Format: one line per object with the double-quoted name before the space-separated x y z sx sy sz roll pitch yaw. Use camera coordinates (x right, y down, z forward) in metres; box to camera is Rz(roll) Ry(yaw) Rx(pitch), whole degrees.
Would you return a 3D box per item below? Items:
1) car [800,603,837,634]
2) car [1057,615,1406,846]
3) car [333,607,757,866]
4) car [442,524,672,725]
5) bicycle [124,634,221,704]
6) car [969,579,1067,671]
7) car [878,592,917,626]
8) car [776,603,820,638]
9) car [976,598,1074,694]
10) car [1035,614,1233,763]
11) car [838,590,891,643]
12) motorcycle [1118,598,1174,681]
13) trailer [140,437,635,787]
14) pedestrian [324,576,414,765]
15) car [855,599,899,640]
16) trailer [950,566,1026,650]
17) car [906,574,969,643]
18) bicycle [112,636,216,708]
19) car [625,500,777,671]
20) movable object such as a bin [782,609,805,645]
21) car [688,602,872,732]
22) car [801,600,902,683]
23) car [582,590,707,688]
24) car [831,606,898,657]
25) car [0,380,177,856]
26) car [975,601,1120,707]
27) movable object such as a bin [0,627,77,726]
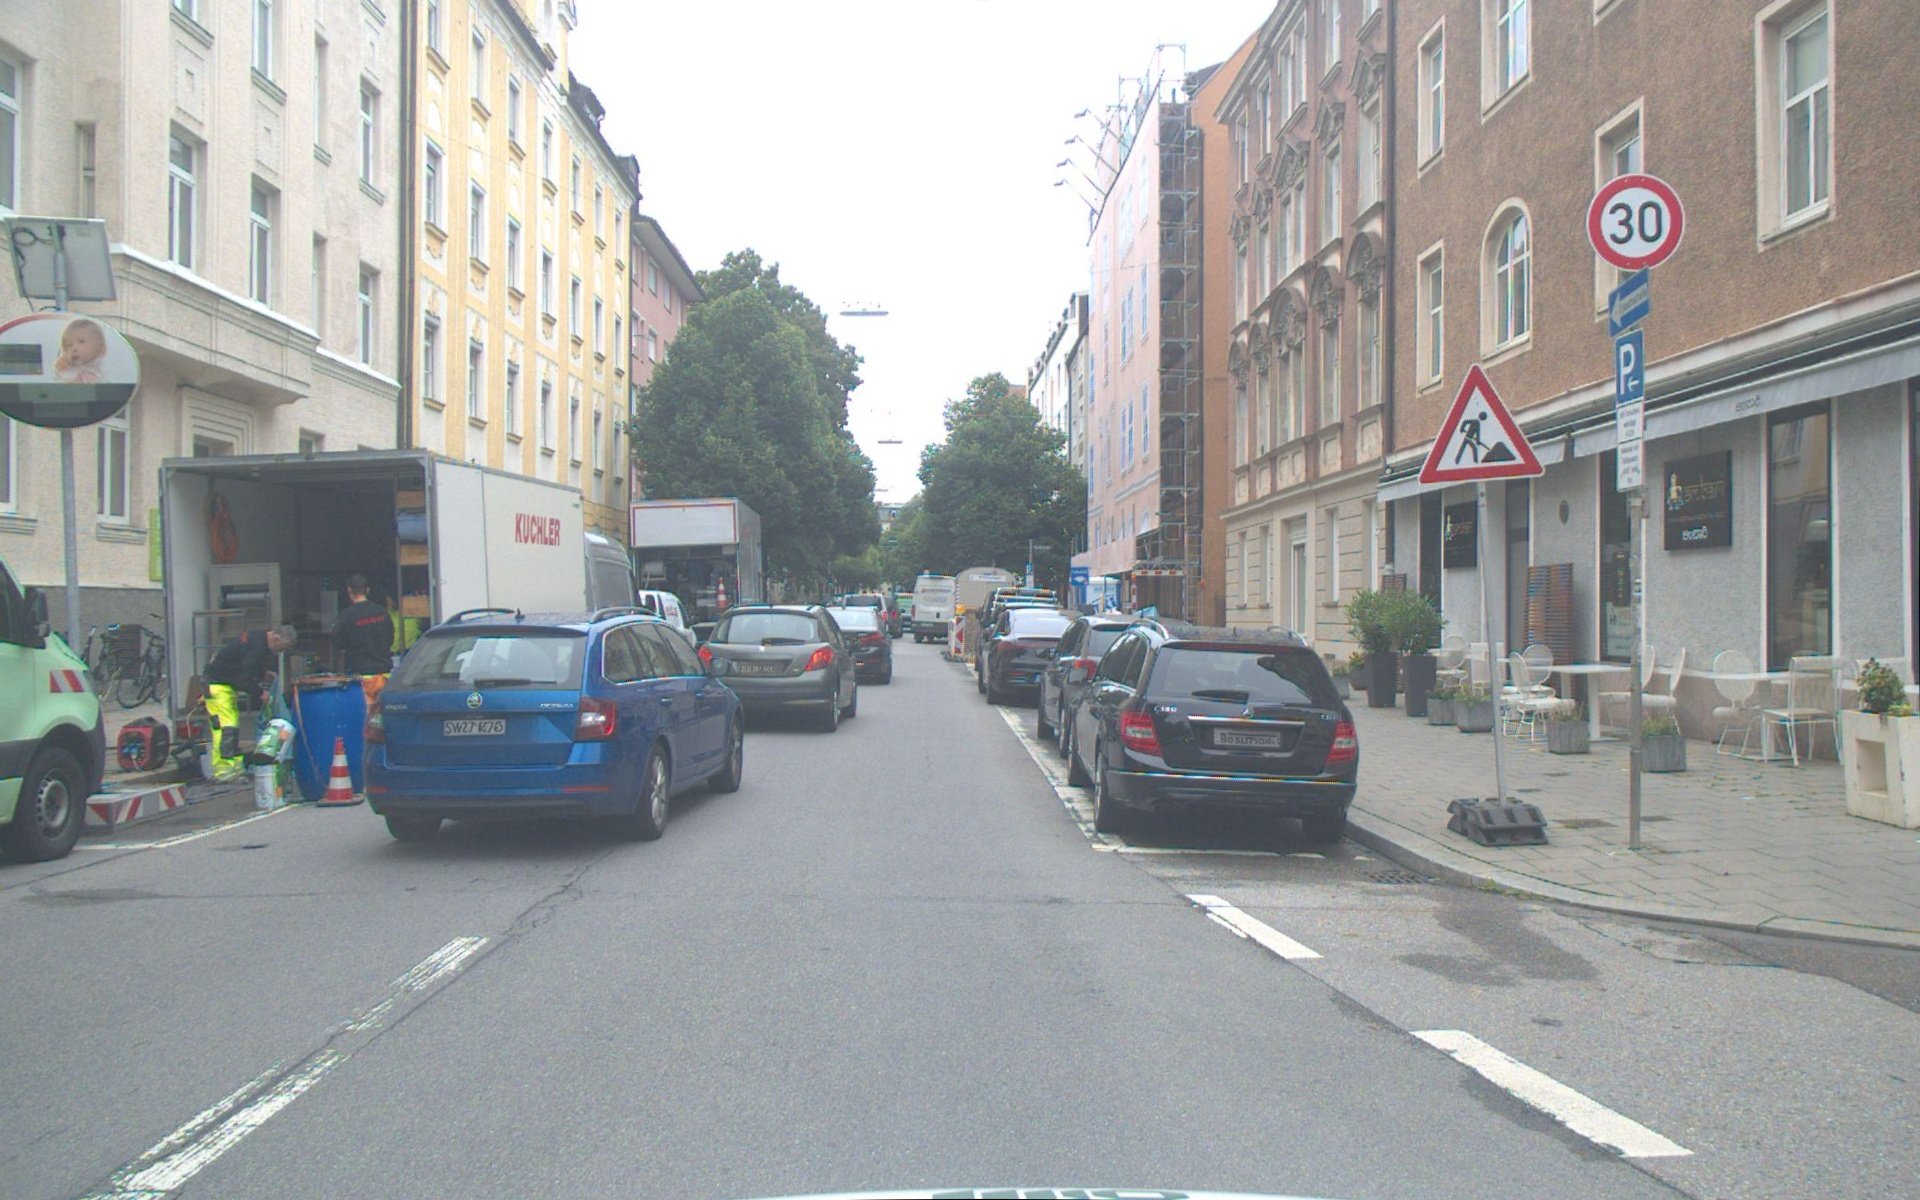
"car" -7.301 0.938 85.500 1.776 1.504 3.997 1 0 -4
"car" 1.852 0.842 12.797 1.809 1.429 4.786 0 0 -1
"car" -2.656 0.798 11.677 1.752 1.486 4.315 0 0 2
"car" -6.152 0.343 26.228 2.015 2.632 6.873 -4 0 -2
"bicycle" -11.214 0.972 23.612 0.407 0.930 1.757 3 -1 3
"car" 1.304 0.664 39.191 2.040 1.955 5.139 1 -3 -1
"car" -3.315 0.471 87.265 1.968 1.682 4.345 2 0 -3
"car" -7.302 0.921 74.765 1.776 1.504 3.997 1 0 -4
"car" 1.233 0.890 33.102 1.659 1.706 4.407 3 -1 -1
"car" 1.770 0.877 18.012 1.541 1.419 4.180 0 -1 -2
"car" -3.623 0.615 63.072 1.830 1.902 4.346 2 0 -2
"motorcycle" 3.540 0.735 31.657 0.853 1.531 1.997 0 0 0
"trailer" -5.922 0.076 18.736 2.746 3.020 7.600 -3 0 1
"pedestrian" -5.338 0.622 14.937 0.750 1.659 0.633 0 -1 -21
"car" -3.640 0.841 73.093 1.830 1.682 4.346 2 0 -2
"trailer" 0.946 0.330 61.355 2.452 2.890 6.898 1 -1 -2
"car" -0.862 0.382 68.385 2.068 2.710 5.502 2 -1 4
"bicycle" -10.929 0.969 22.754 0.386 0.930 1.589 3 -1 10
"car" -6.370 -0.308 42.000 2.756 3.884 8.719 0 -1 -2
"movable object such as a bin" -6.745 1.093 66.962 0.900 1.400 1.078 -2 0 -6
"car" -2.117 0.768 20.379 1.705 1.446 3.665 0 -1 2
"car" -2.101 0.771 32.766 1.830 1.479 4.345 2 0 -3
"car" -6.335 0.760 33.643 1.727 1.810 4.326 -2 0 -1
"car" -2.845 0.921 50.000 1.830 1.371 4.346 2 0 -2
"car" -6.315 0.092 7.786 2.097 2.617 6.793 0 0 -1
"car" 1.349 0.825 27.783 1.892 1.580 5.634 1 0 -2
"movable object such as a bin" -10.905 0.894 19.523 0.658 1.148 0.554 0 -1 1
